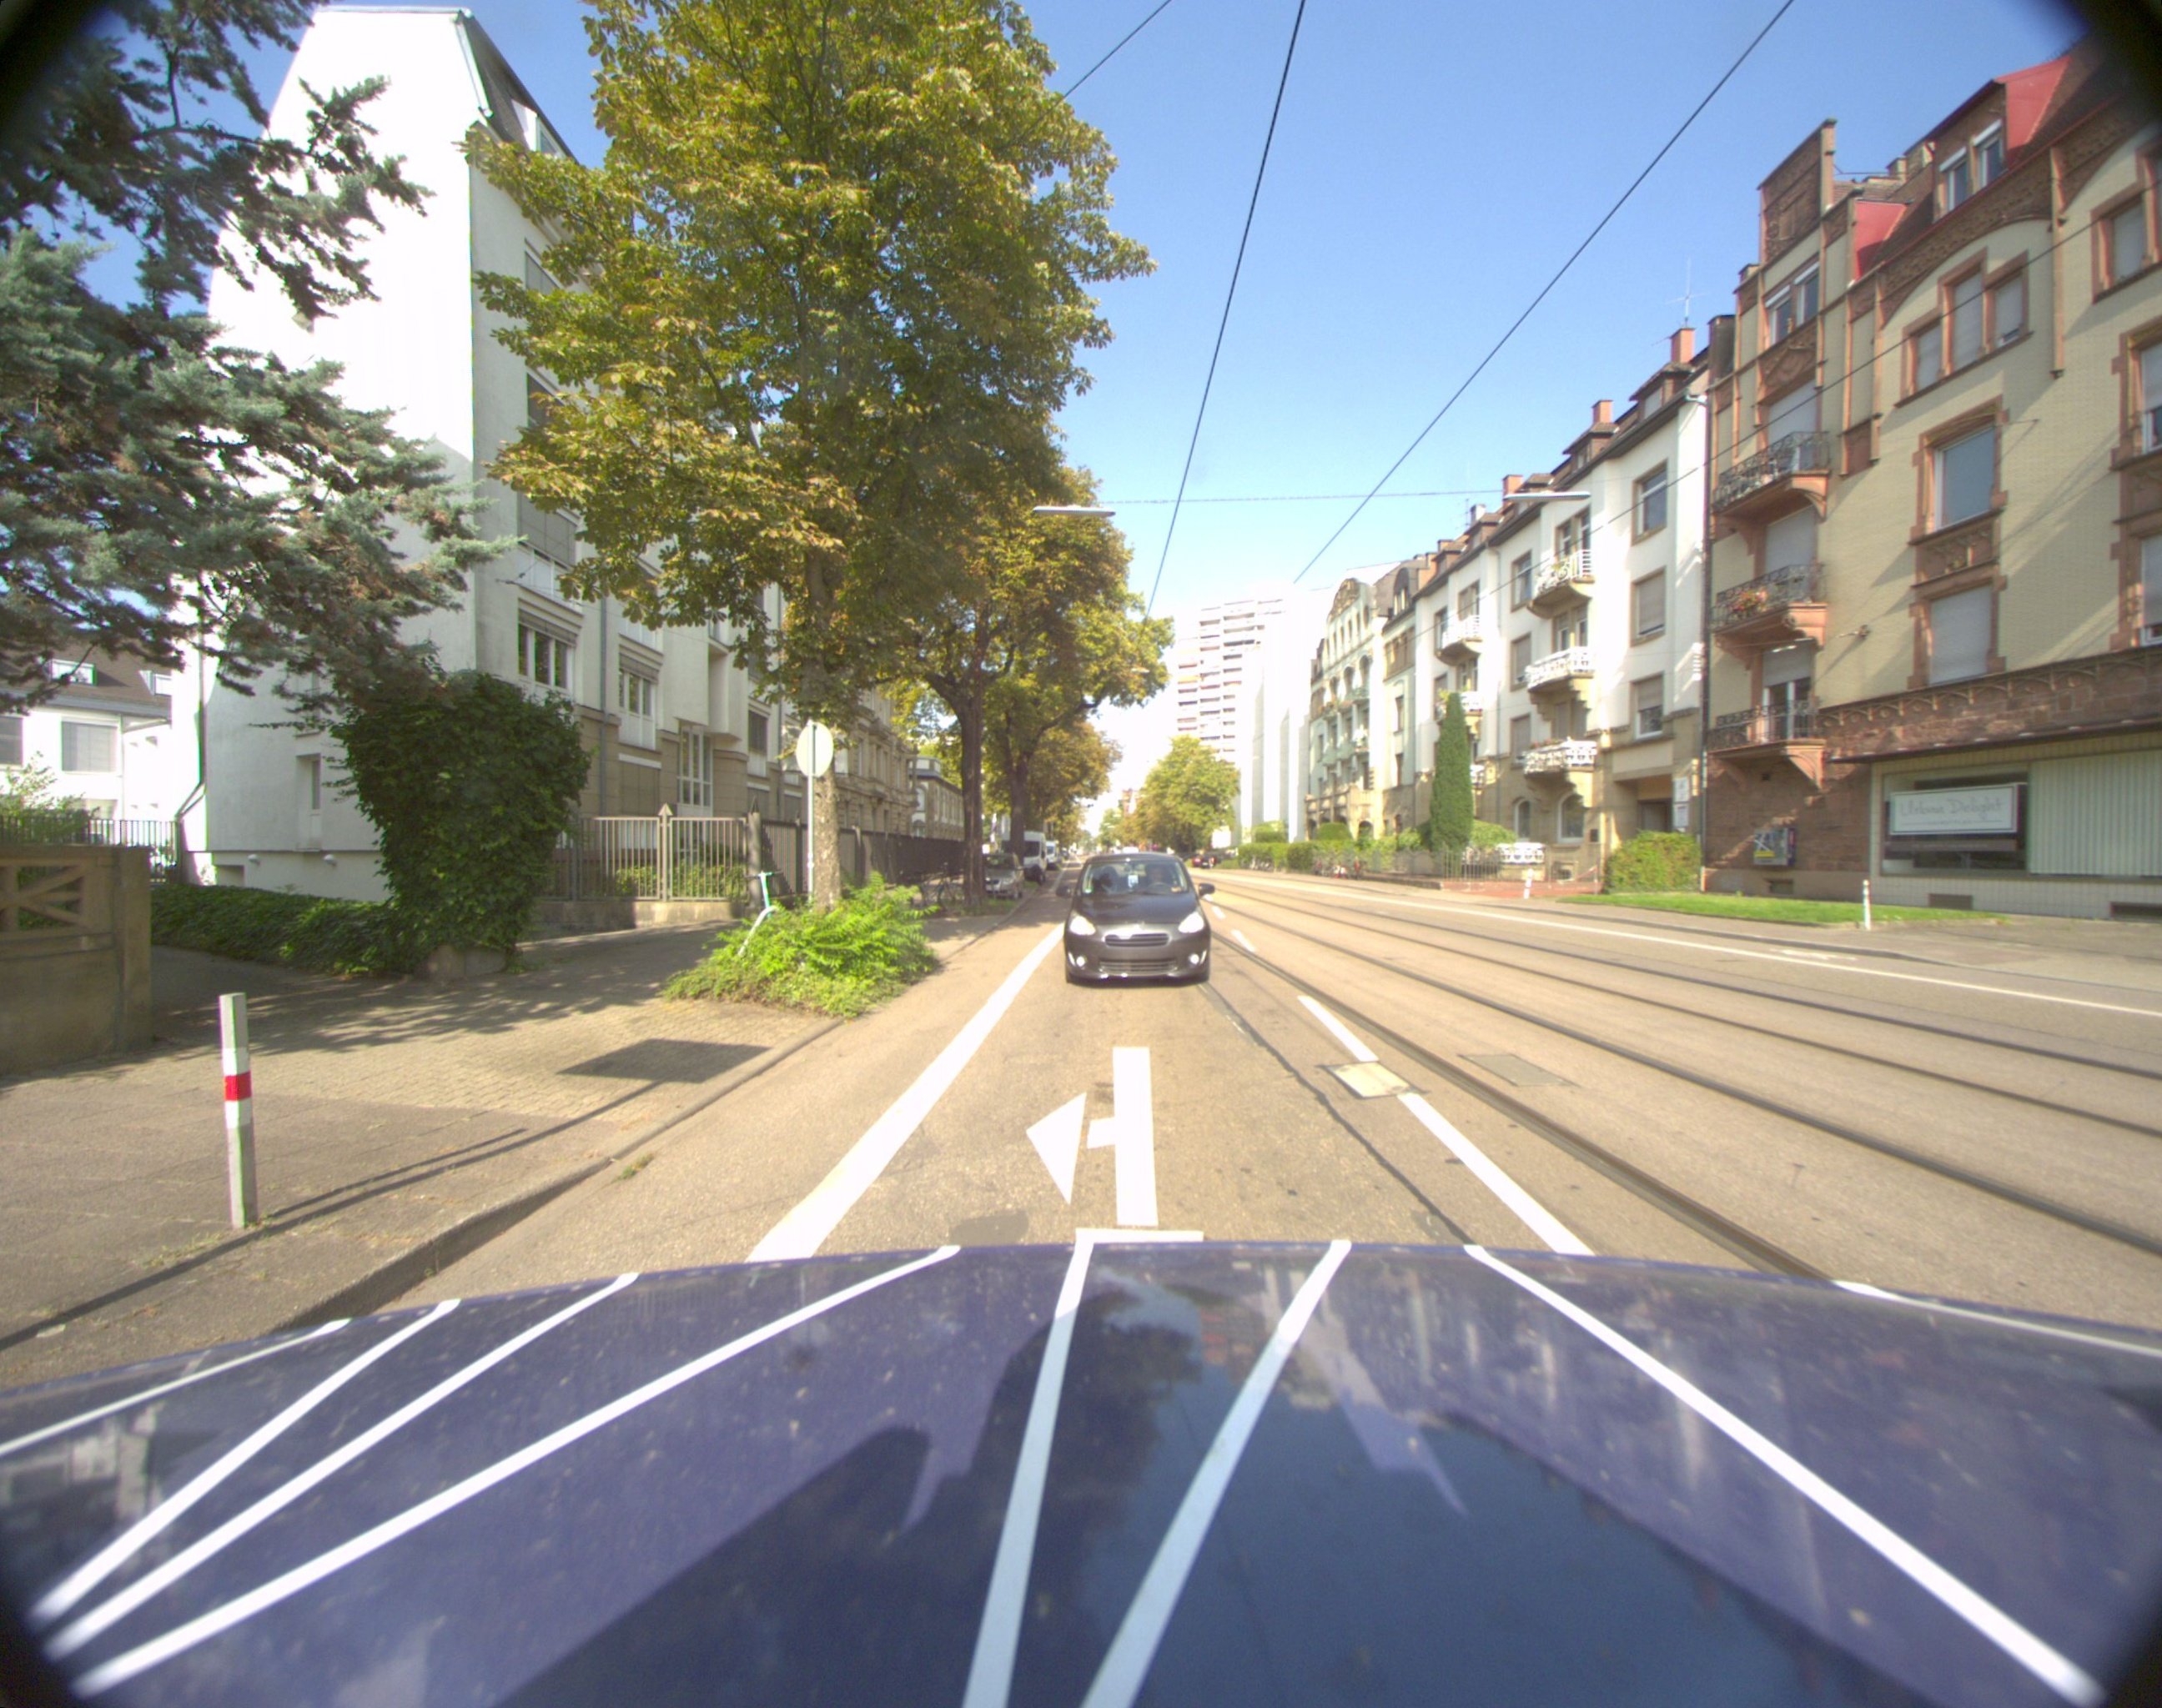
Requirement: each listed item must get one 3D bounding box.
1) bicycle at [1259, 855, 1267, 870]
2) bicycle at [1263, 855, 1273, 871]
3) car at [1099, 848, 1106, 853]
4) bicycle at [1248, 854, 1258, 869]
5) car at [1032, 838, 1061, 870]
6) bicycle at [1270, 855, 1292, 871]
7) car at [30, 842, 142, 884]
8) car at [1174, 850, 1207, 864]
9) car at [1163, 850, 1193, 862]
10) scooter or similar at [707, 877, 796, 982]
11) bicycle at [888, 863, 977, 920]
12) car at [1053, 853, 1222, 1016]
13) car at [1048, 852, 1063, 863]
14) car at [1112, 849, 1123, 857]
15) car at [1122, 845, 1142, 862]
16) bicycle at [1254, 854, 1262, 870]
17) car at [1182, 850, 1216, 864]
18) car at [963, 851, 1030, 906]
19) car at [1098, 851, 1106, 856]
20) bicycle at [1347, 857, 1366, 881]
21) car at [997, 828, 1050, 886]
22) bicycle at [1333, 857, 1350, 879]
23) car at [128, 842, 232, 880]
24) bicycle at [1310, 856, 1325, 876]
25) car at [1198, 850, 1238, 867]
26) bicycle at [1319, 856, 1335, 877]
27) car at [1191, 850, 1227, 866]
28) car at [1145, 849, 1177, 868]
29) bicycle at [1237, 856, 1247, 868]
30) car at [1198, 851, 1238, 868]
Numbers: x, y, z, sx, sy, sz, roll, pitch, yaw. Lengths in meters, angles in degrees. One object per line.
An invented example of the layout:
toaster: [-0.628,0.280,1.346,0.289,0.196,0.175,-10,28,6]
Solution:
bicycle: [12.994,0.587,54.348,0.425,1.081,1.677,0,1,9]
bicycle: [12.851,0.615,52.251,0.425,1.081,1.677,0,1,4]
car: [5.234,-0.877,186.736,1.757,1.349,3.788,0,0,1]
bicycle: [12.954,0.553,57.168,0.425,1.081,1.676,0,1,2]
car: [-2.793,-0.006,63.229,1.998,2.526,5.867,2,0,0]
bicycle: [13.475,0.592,51.248,1.397,1.081,0.425,0,1,-18]
car: [-39.656,0.318,30.268,3.990,1.557,1.839,0,1,25]
car: [12.409,0.304,86.221,1.767,1.518,4.009,1,1,41]
car: [12.135,0.211,95.069,1.767,1.518,4.009,1,1,41]
scooter or similar: [-4.149,0.920,9.638,0.559,1.190,1.034,3,1,5]
bicycle: [-3.263,0.831,16.833,1.846,1.160,0.503,2,5,-40]
car: [0.545,0.784,9.577,1.611,1.515,4.356,-1,1,0]
car: [-3.021,0.408,91.584,1.757,1.349,3.787,0,0,-1]
car: [6.799,-0.235,141.370,1.701,1.395,4.645,-1,1,-1]
car: [6.360,-0.085,95.149,1.999,2.002,4.857,0,0,-3]
bicycle: [12.839,0.570,55.157,0.425,1.081,1.677,0,1,9]
car: [12.990,0.351,83.370,1.767,1.518,4.009,1,1,41]
car: [-2.623,0.710,24.522,1.611,1.515,4.356,3,1,0]
car: [5.527,-0.056,199.848,1.757,1.349,3.787,0,0,-1]
bicycle: [13.017,0.692,35.934,0.371,1.081,1.487,0,1,-1]
car: [-2.632,0.104,36.252,2.051,2.484,6.228,1,0,0]
bicycle: [12.922,0.673,37.708,0.371,1.081,1.355,0,1,-1]
car: [-38.621,0.274,32.558,3.990,1.557,1.839,0,1,25]
bicycle: [13.125,0.648,42.238,0.371,1.081,1.355,0,1,-1]
car: [13.183,0.410,73.064,4.008,1.518,1.767,0,1,-44]
bicycle: [13.081,0.650,40.467,0.371,1.081,1.355,0,1,-1]
car: [12.825,0.394,75.905,1.767,1.518,4.009,1,1,41]
car: [6.609,0.328,63.246,1.877,1.446,4.543,3,0,-3]
bicycle: [12.822,0.625,60.501,0.425,0.972,1.770,0,0,-1]
car: [12.501,0.472,69.274,1.767,1.518,4.009,1,1,41]
